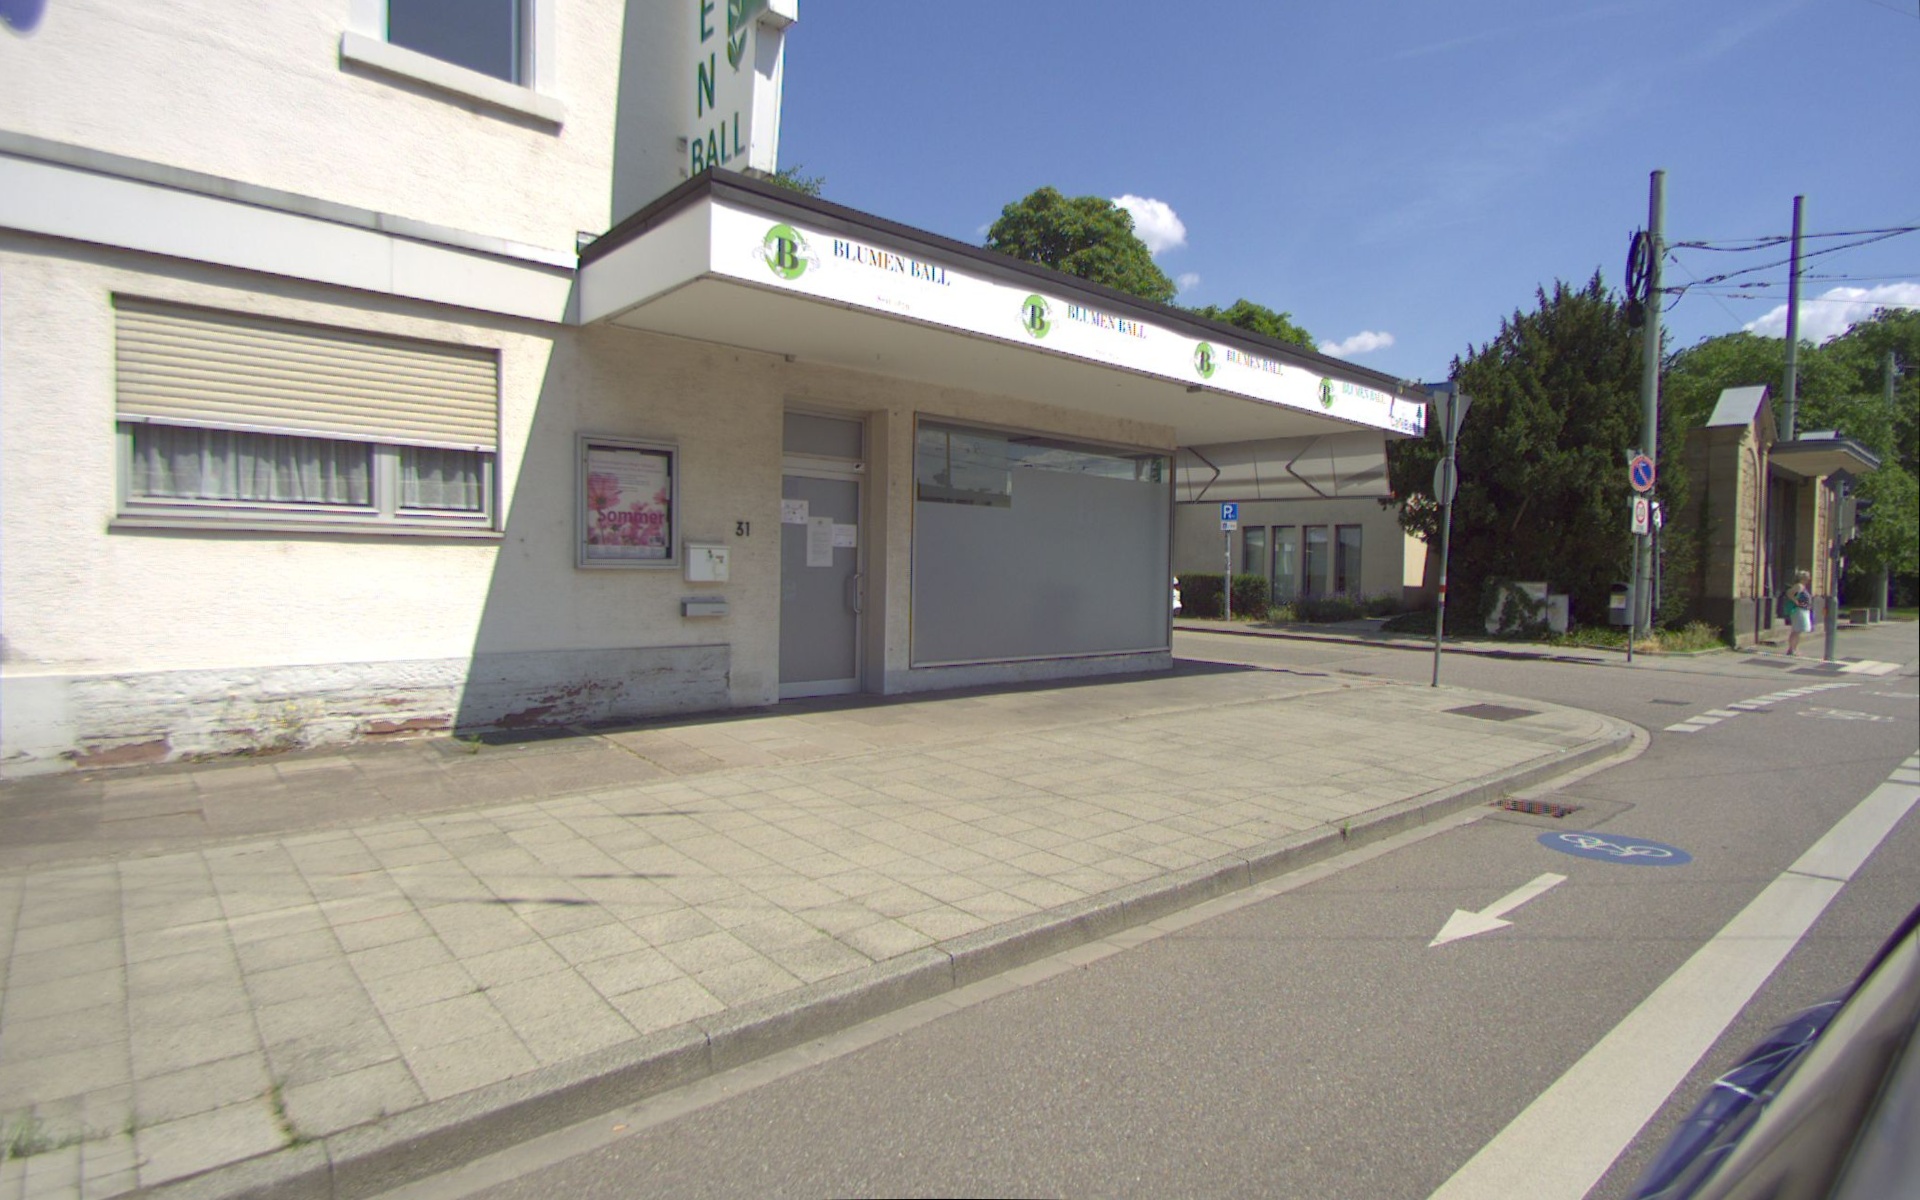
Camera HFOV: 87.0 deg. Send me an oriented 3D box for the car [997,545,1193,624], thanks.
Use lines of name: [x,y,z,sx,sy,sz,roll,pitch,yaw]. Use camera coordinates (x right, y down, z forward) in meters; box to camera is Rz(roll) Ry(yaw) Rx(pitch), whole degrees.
car: [3.095,-0.406,23.905,1.909,1.676,4.412,2,1,-40]

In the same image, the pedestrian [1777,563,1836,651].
pedestrian: [16.598,0.126,19.851,0.667,1.686,0.566,1,2,-18]
